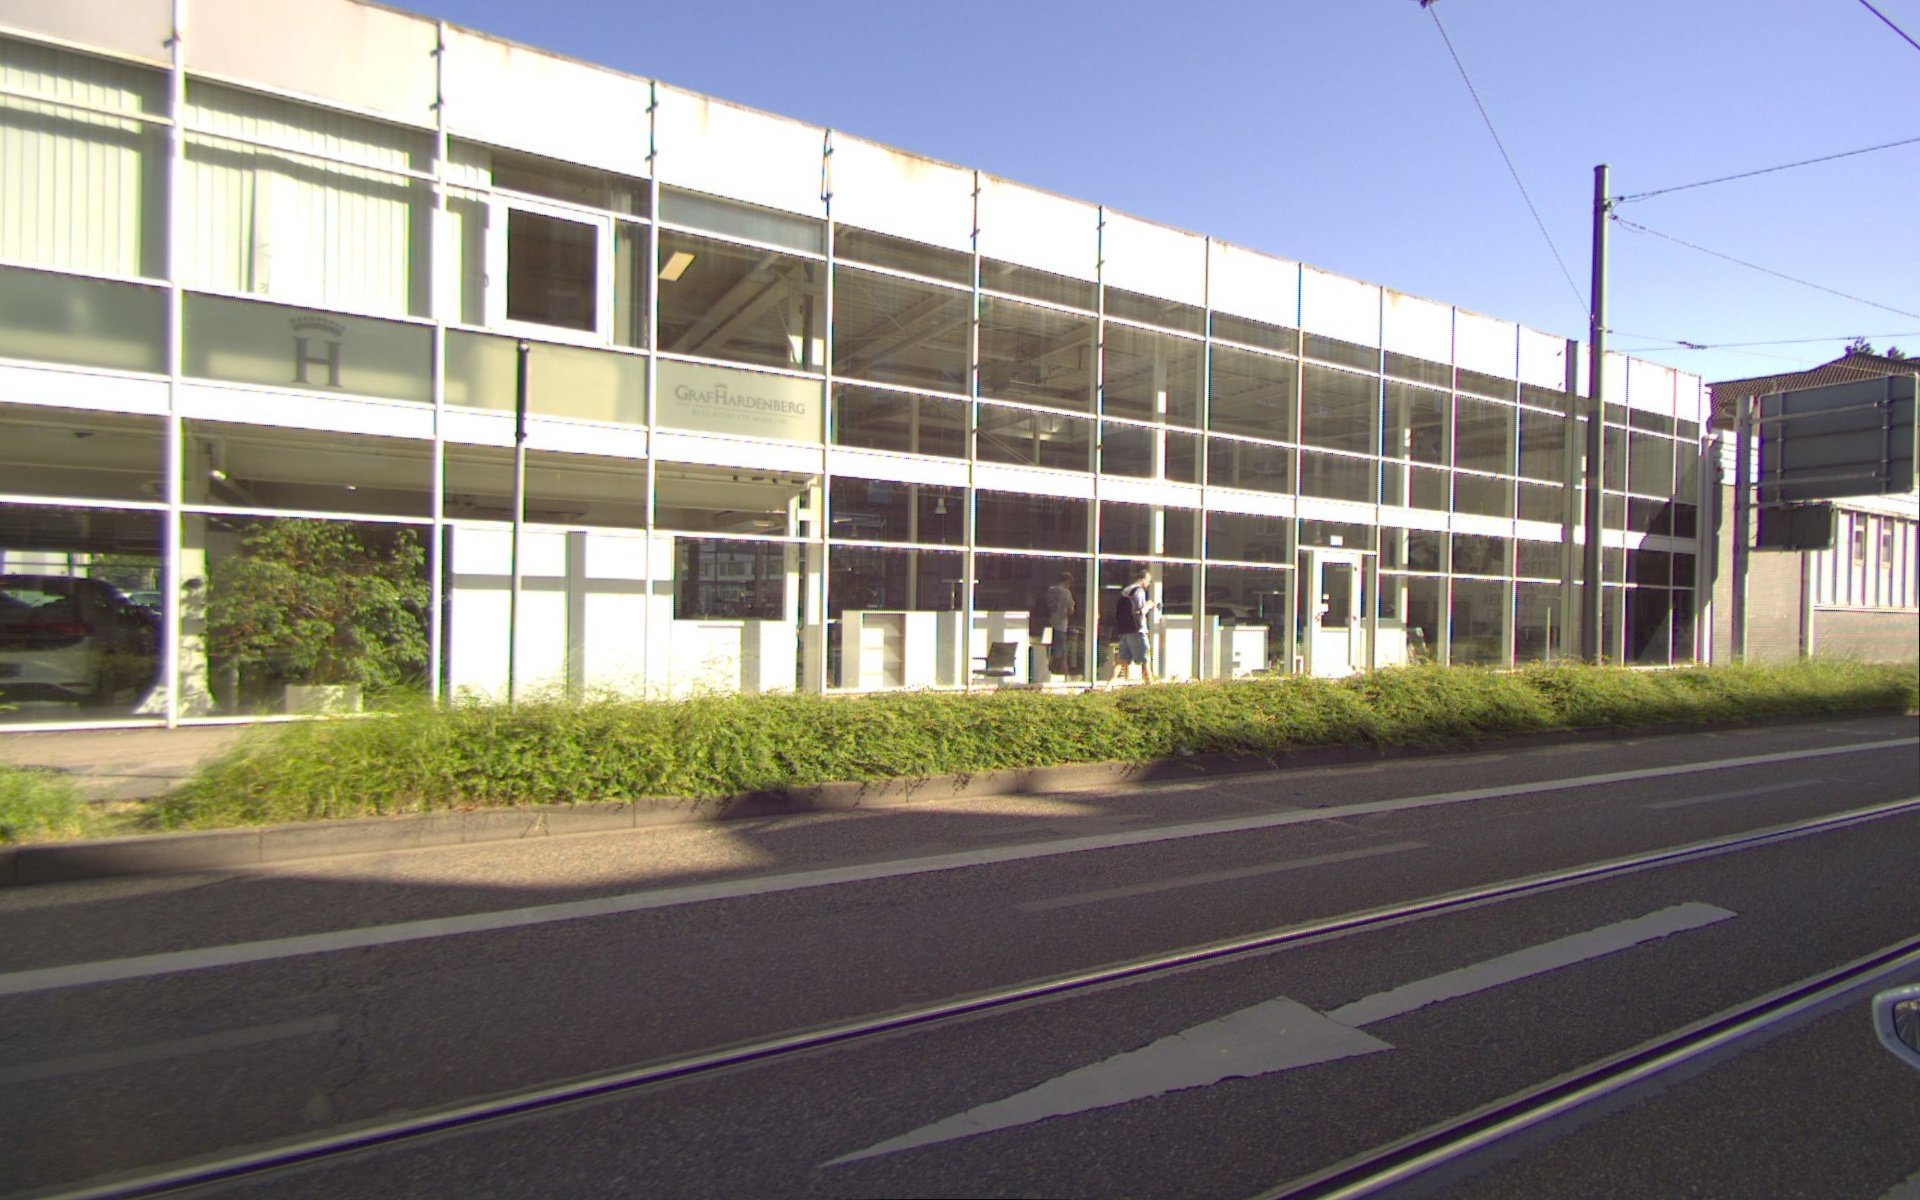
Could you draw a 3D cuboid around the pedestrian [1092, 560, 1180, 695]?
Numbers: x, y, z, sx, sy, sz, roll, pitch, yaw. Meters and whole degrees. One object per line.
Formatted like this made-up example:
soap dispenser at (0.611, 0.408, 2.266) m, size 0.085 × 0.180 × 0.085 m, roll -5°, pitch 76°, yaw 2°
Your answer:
pedestrian at (2.430, 0.373, 13.871) m, size 1.039 × 1.788 × 0.524 m, roll 2°, pitch 2°, yaw -30°
